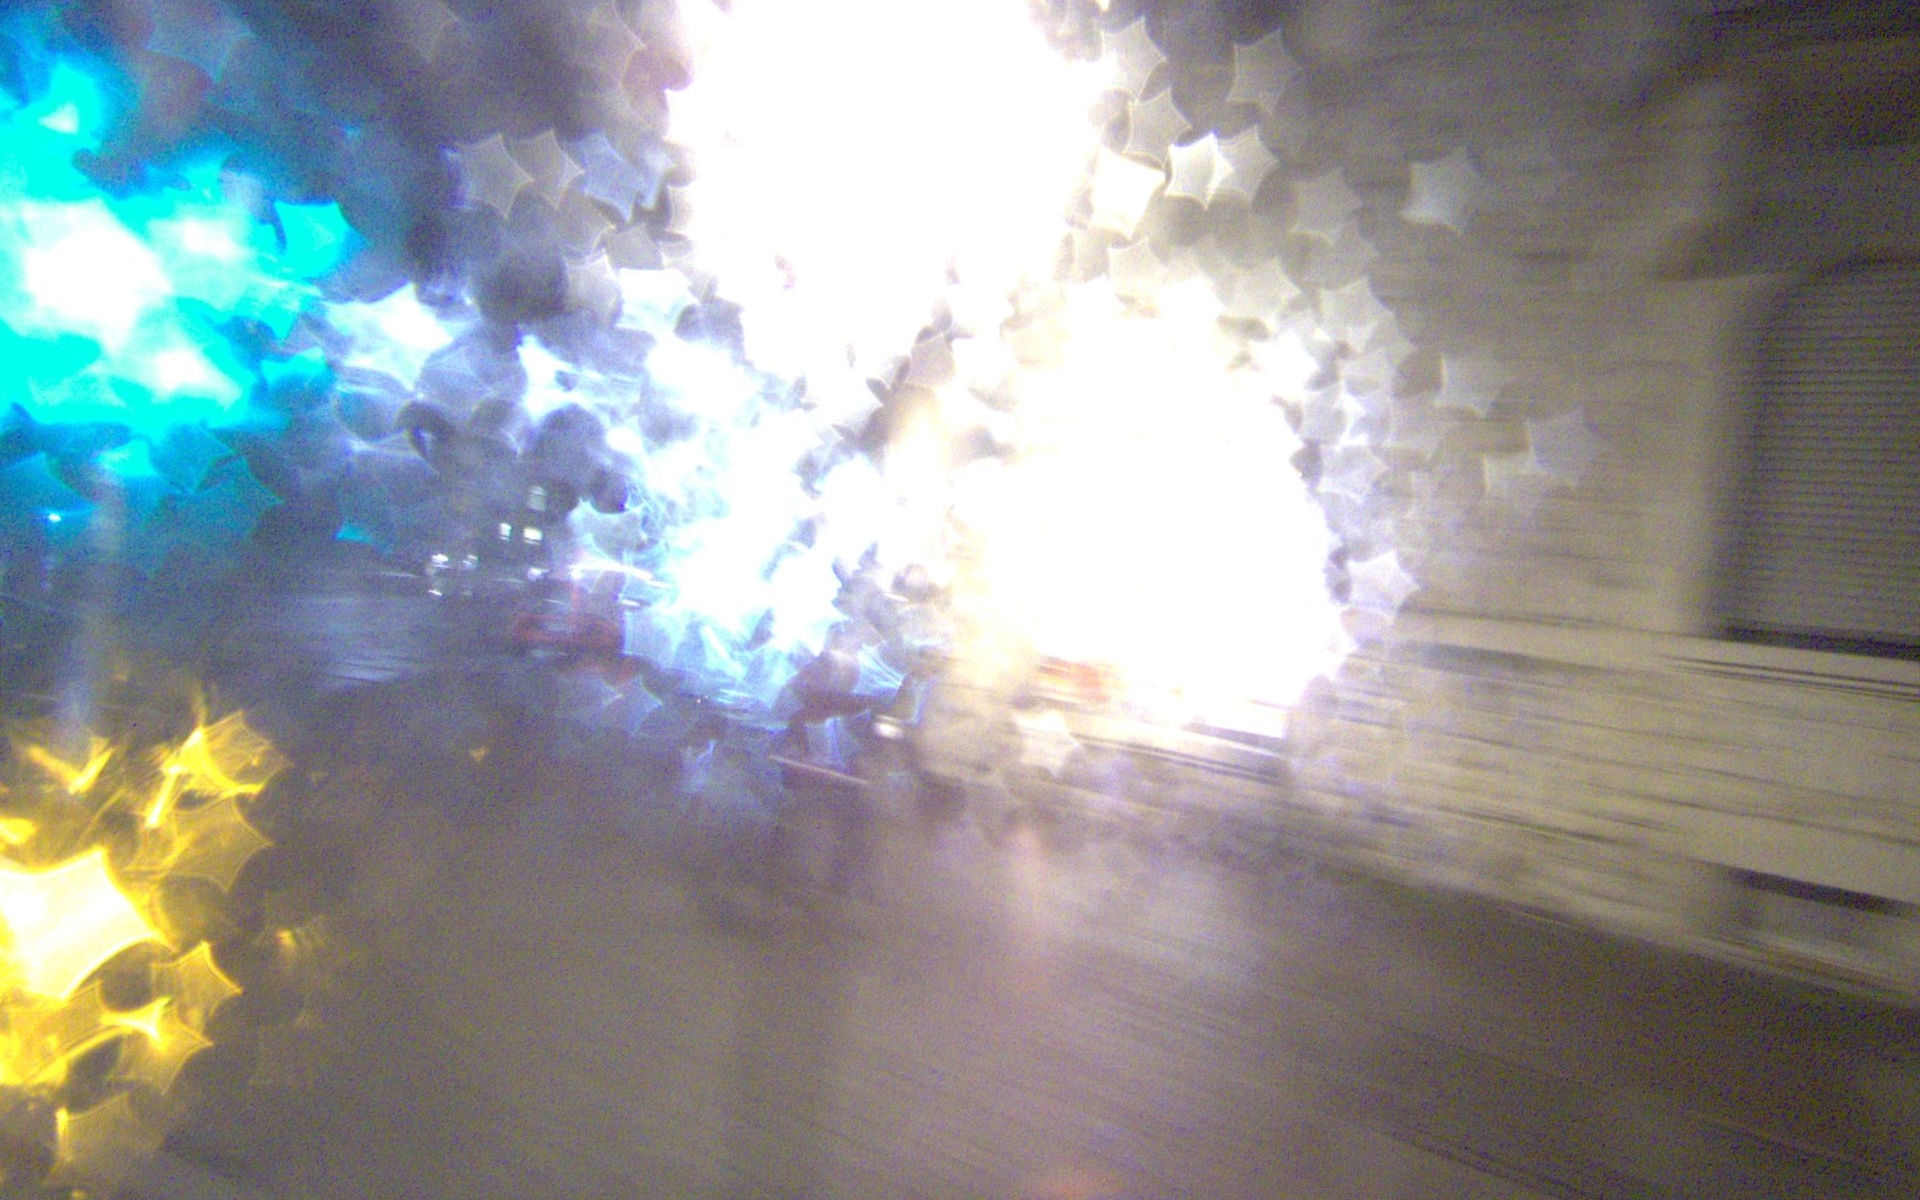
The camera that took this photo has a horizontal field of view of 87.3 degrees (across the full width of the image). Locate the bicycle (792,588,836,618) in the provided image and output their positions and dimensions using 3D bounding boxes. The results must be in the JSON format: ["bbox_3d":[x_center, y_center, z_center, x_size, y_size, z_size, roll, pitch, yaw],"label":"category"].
[{"bbox_3d":[-6.423,0.139,44.301,1.787,1.178,0.492,5,0,-6],"label":"bicycle"}]

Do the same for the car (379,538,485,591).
[{"bbox_3d":[-23.376,-1.522,44.838,1.966,1.847,5.303,11,0,-4],"label":"car"}]

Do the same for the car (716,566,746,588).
[{"bbox_3d":[-21.938,-2.186,96.515,1.897,1.903,4.634,6,0,-3],"label":"car"}]

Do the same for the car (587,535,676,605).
[{"bbox_3d":[-13.989,-1.207,43.210,2.185,2.471,5.379,8,0,-5],"label":"car"}]

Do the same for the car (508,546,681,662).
[{"bbox_3d":[-5.723,0.056,16.187,1.622,1.544,3.577,4,0,-4],"label":"car"}]

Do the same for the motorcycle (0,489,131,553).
[{"bbox_3d":[-22.191,-1.938,24.979,0.698,1.245,2.321,6,-1,30],"label":"motorcycle"}]

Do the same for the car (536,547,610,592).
[{"bbox_3d":[-19.734,-1.526,51.480,1.866,1.892,4.536,6,-1,0],"label":"car"}]

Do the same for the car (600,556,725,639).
[{"bbox_3d":[-6.144,-0.054,21.208,1.620,1.460,4.052,4,0,-4],"label":"car"}]

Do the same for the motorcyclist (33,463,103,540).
[{"bbox_3d":[-22.144,-2.436,24.979,0.698,1.752,1.026,6,0,30],"label":"motorcyclist"}]

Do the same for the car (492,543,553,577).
[{"bbox_3d":[-24.397,-2.210,56.288,1.741,1.423,4.137,10,-1,-5],"label":"car"}]
